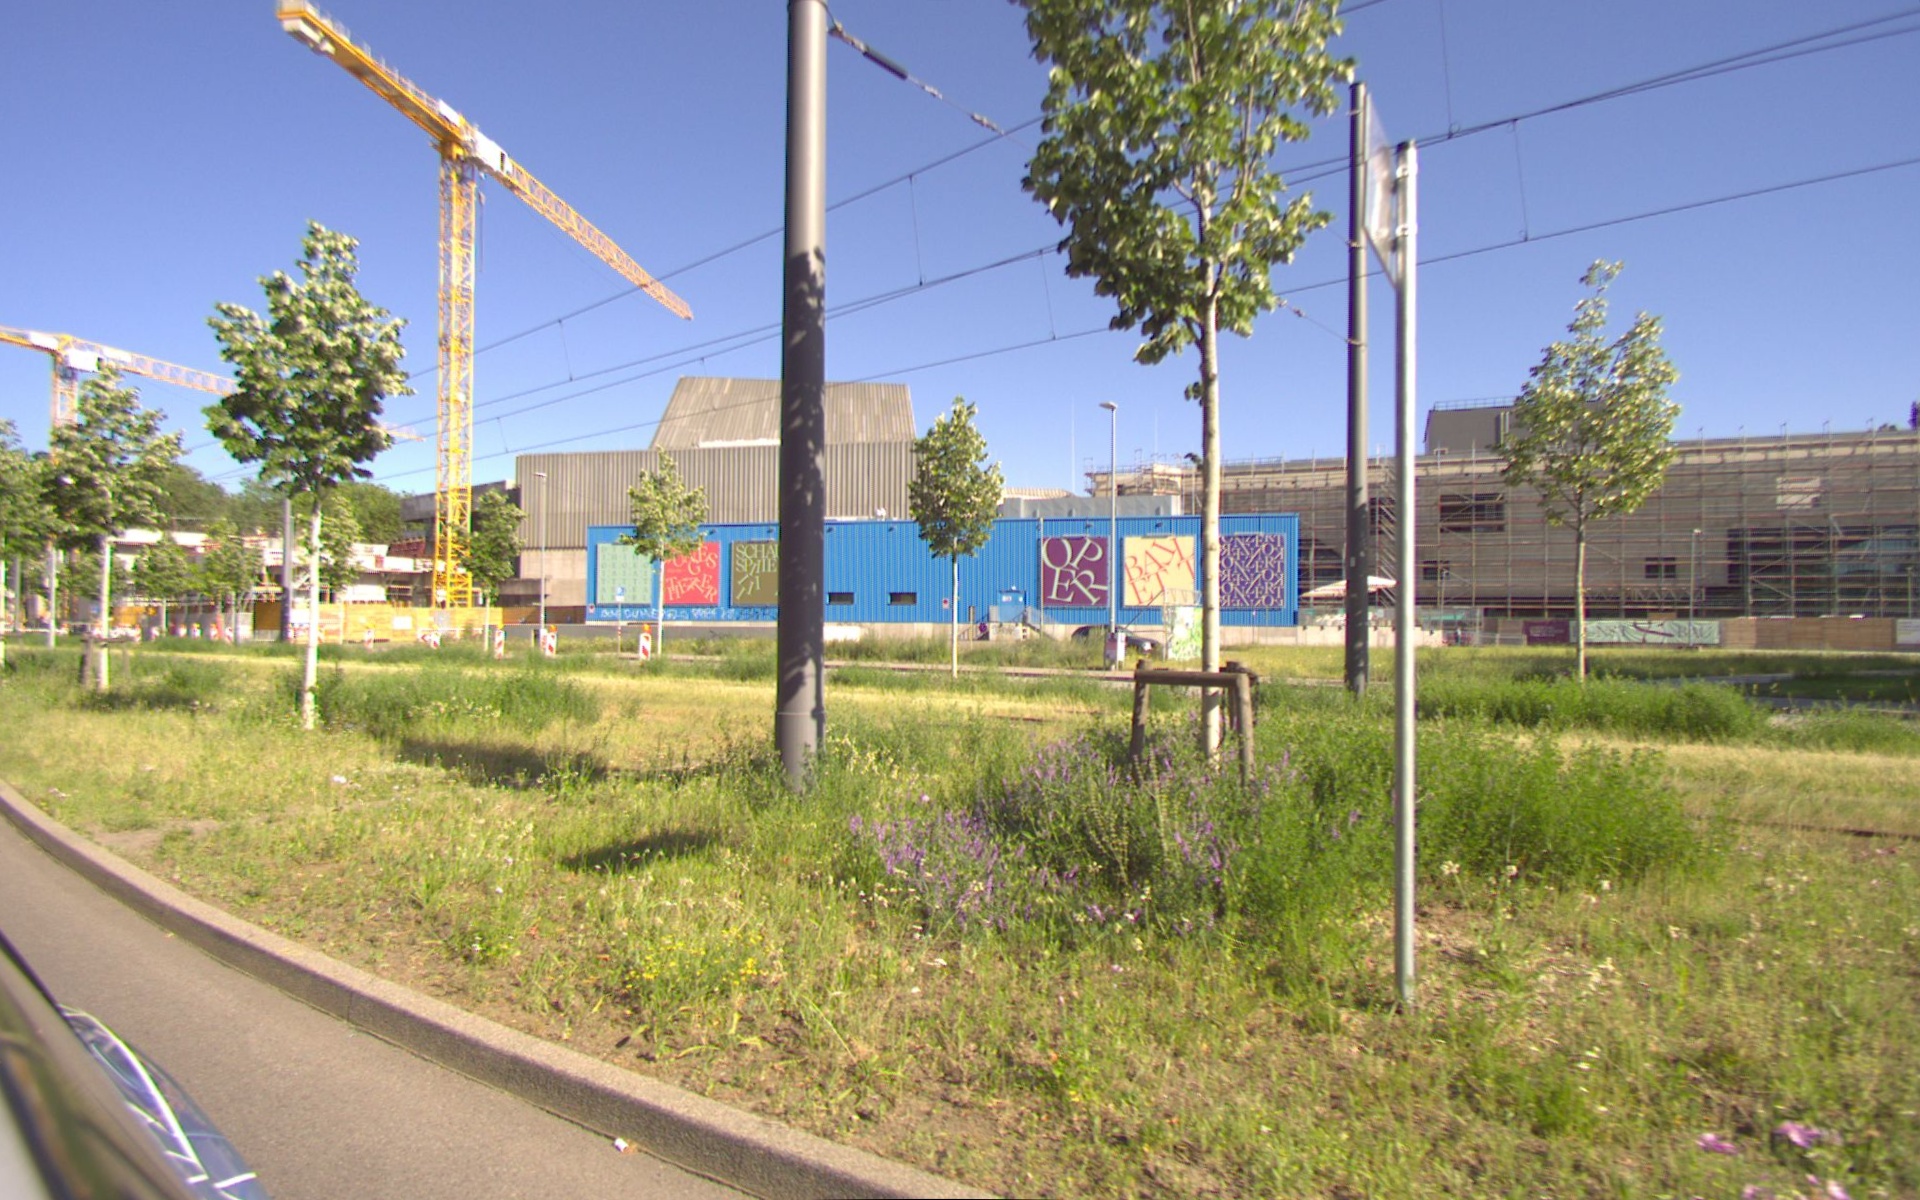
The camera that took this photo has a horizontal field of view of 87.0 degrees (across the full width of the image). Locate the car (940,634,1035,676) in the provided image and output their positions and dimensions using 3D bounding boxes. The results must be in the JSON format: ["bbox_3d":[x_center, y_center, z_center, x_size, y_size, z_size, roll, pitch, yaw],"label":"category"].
[{"bbox_3d":[1.123,2.266,42.246,3.854,1.547,1.543,0,1,39],"label":"car"}]
